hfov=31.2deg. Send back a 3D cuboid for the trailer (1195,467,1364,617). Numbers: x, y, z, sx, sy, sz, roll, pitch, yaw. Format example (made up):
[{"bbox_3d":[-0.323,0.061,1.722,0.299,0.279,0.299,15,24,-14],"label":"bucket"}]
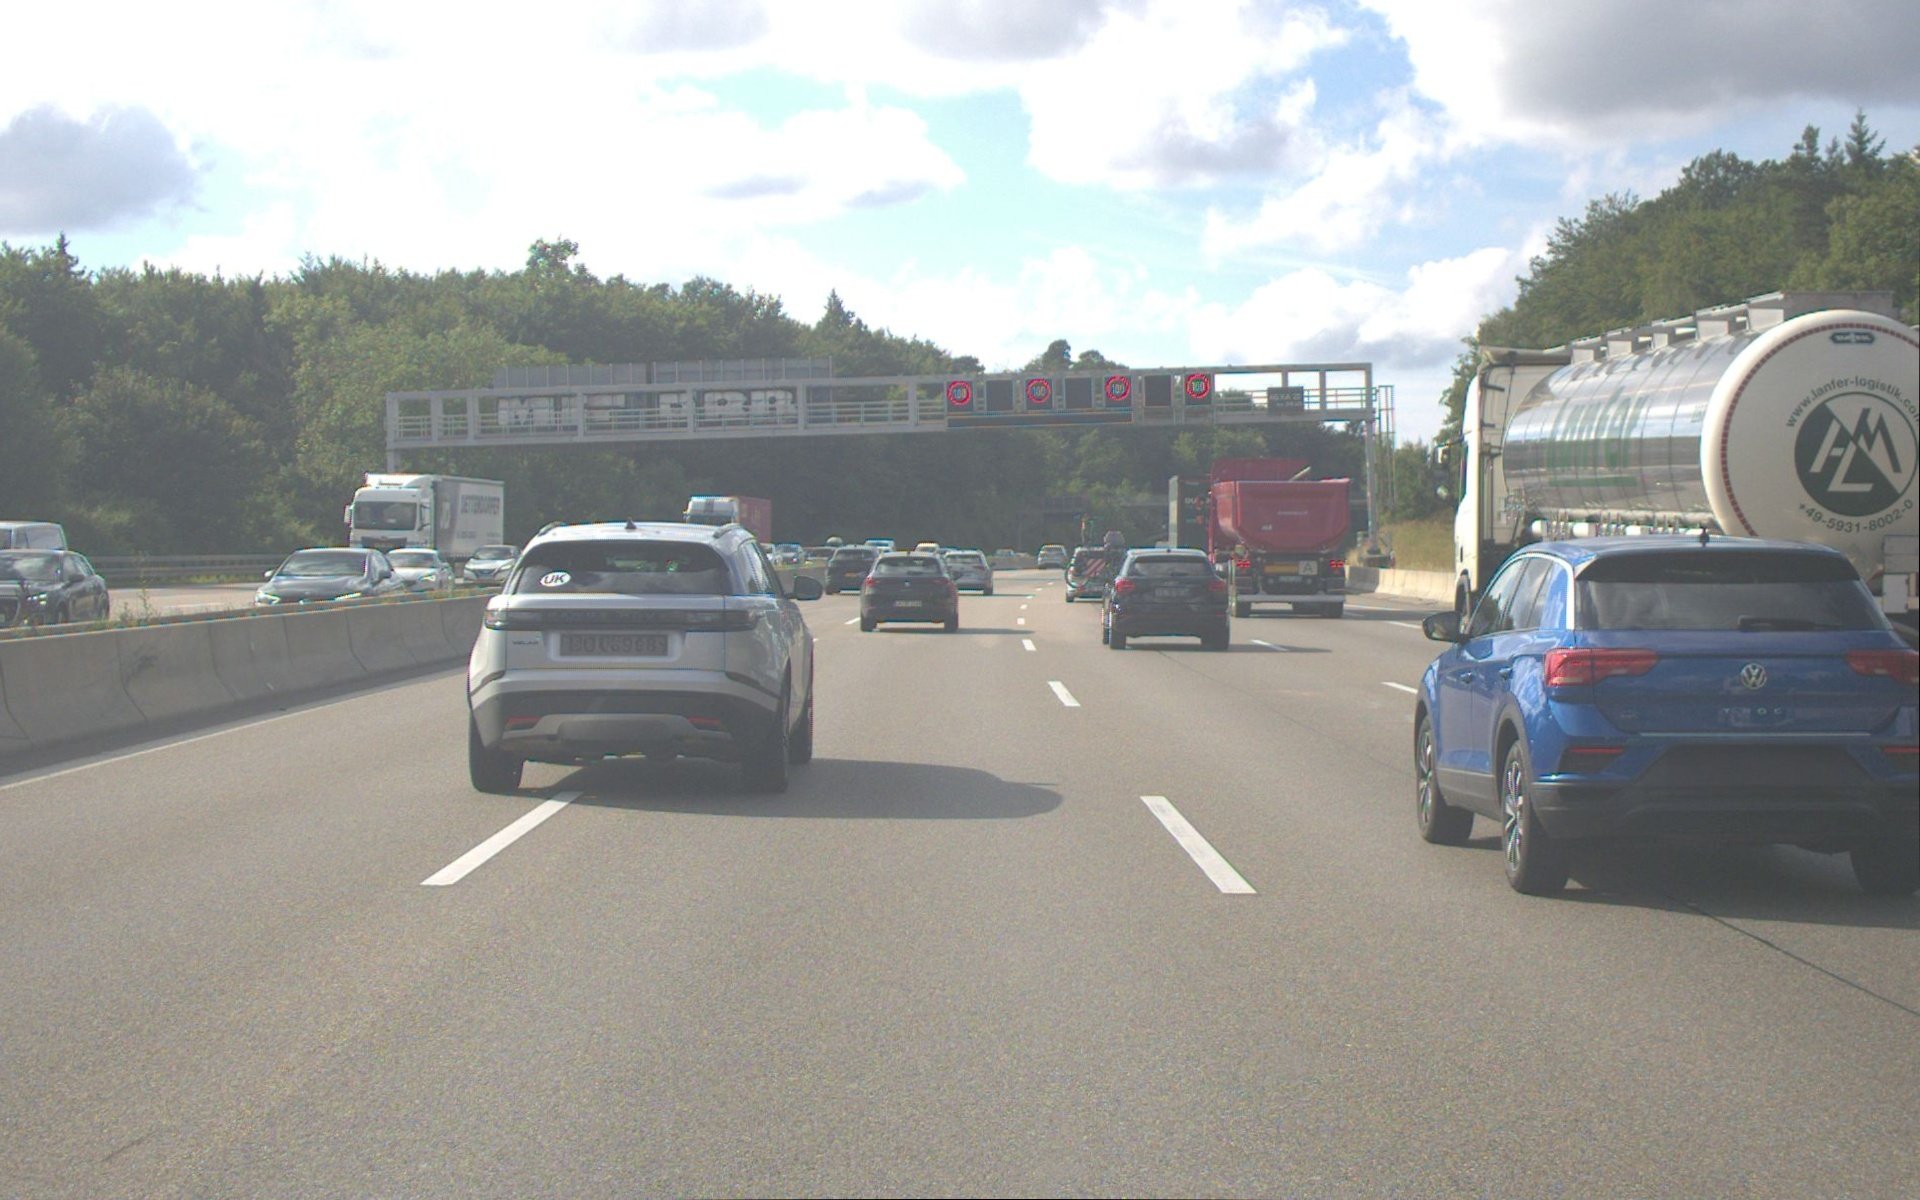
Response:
[{"bbox_3d":[7.245,-1.366,79.222,2.710,3.220,9.734,0,1,-1],"label":"trailer"}]

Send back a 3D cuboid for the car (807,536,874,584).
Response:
[{"bbox_3d":[-3.844,-1.302,110.917,1.942,1.452,4.000,-1,1,1],"label":"car"}]

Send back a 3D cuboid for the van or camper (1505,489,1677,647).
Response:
[{"bbox_3d":[9.602,-0.517,52.676,1.822,2.299,4.939,0,1,1],"label":"van or camper"}]

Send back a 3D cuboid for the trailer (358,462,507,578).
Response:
[{"bbox_3d":[-19.545,-2.959,128.407,3.317,4.092,14.156,0,1,0],"label":"trailer"}]

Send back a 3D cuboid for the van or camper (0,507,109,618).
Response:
[{"bbox_3d":[-17.302,-0.699,62.699,1.994,1.931,5.457,0,1,2],"label":"van or camper"}]

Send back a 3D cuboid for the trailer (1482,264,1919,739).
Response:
[{"bbox_3d":[7.176,-0.895,33.182,2.649,3.754,11.860,0,1,1],"label":"trailer"}]

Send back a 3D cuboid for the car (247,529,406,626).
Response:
[{"bbox_3d":[-10.492,-0.405,57.234,1.863,1.546,4.662,0,1,-1],"label":"car"}]

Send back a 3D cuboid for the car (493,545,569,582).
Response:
[{"bbox_3d":[-14.072,-1.218,112.974,1.811,1.157,4.515,0,1,2],"label":"car"}]

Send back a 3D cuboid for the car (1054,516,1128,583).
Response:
[{"bbox_3d":[3.677,-1.432,97.002,1.893,1.850,4.101,1,1,0],"label":"car"}]

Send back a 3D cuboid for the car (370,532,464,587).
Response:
[{"bbox_3d":[-13.968,-1.058,88.640,1.769,1.389,4.691,0,1,-1],"label":"car"}]

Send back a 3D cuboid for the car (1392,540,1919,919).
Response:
[{"bbox_3d":[3.198,0.483,16.075,1.773,1.525,4.458,0,1,0],"label":"car"}]

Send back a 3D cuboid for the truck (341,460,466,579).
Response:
[{"bbox_3d":[-19.617,-2.837,121.562,3.317,4.092,6.225,0,1,1],"label":"truck"}]

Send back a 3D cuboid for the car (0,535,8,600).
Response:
[{"bbox_3d":[-21.493,-0.676,72.286,1.823,1.389,4.279,0,1,-1],"label":"car"}]

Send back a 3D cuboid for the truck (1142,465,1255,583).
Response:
[{"bbox_3d":[8.219,-2.629,119.575,3.118,3.921,10.412,0,1,0],"label":"truck"}]

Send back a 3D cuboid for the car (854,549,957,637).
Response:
[{"bbox_3d":[-0.984,-0.147,62.999,1.822,1.541,4.000,0,1,0],"label":"car"}]

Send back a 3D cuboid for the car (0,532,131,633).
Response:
[{"bbox_3d":[-14.351,-0.297,52.467,2.171,1.465,4.786,0,1,1],"label":"car"}]

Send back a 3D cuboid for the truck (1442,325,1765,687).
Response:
[{"bbox_3d":[7.244,-1.051,39.481,2.649,3.810,6.082,0,1,1],"label":"truck"}]

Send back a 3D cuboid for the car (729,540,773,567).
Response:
[{"bbox_3d":[-10.278,-2.281,169.435,1.811,1.298,4.046,0,1,2],"label":"car"}]

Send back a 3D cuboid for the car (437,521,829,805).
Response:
[{"bbox_3d":[-1.984,0.312,22.421,2.006,1.611,5.301,1,1,0],"label":"car"}]

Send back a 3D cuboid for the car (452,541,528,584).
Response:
[{"bbox_3d":[-16.159,-1.307,118.426,1.811,1.448,4.801,0,1,2],"label":"car"}]

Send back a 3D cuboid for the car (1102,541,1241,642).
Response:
[{"bbox_3d":[3.167,-0.157,52.177,1.822,1.452,4.000,0,1,-1],"label":"car"}]

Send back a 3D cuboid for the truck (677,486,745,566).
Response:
[{"bbox_3d":[-13.033,-3.879,180.101,2.739,4.092,5.764,0,1,4],"label":"truck"}]

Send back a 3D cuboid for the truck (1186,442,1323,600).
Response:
[{"bbox_3d":[7.158,-1.938,84.170,2.710,3.706,5.818,0,1,-1],"label":"truck"}]

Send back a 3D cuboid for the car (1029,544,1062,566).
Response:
[{"bbox_3d":[5.851,-3.072,235.235,2.077,1.452,4.000,-1,1,4],"label":"car"}]

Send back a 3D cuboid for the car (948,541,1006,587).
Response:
[{"bbox_3d":[0.532,-1.153,111.491,1.822,1.452,4.000,0,1,0],"label":"car"}]
